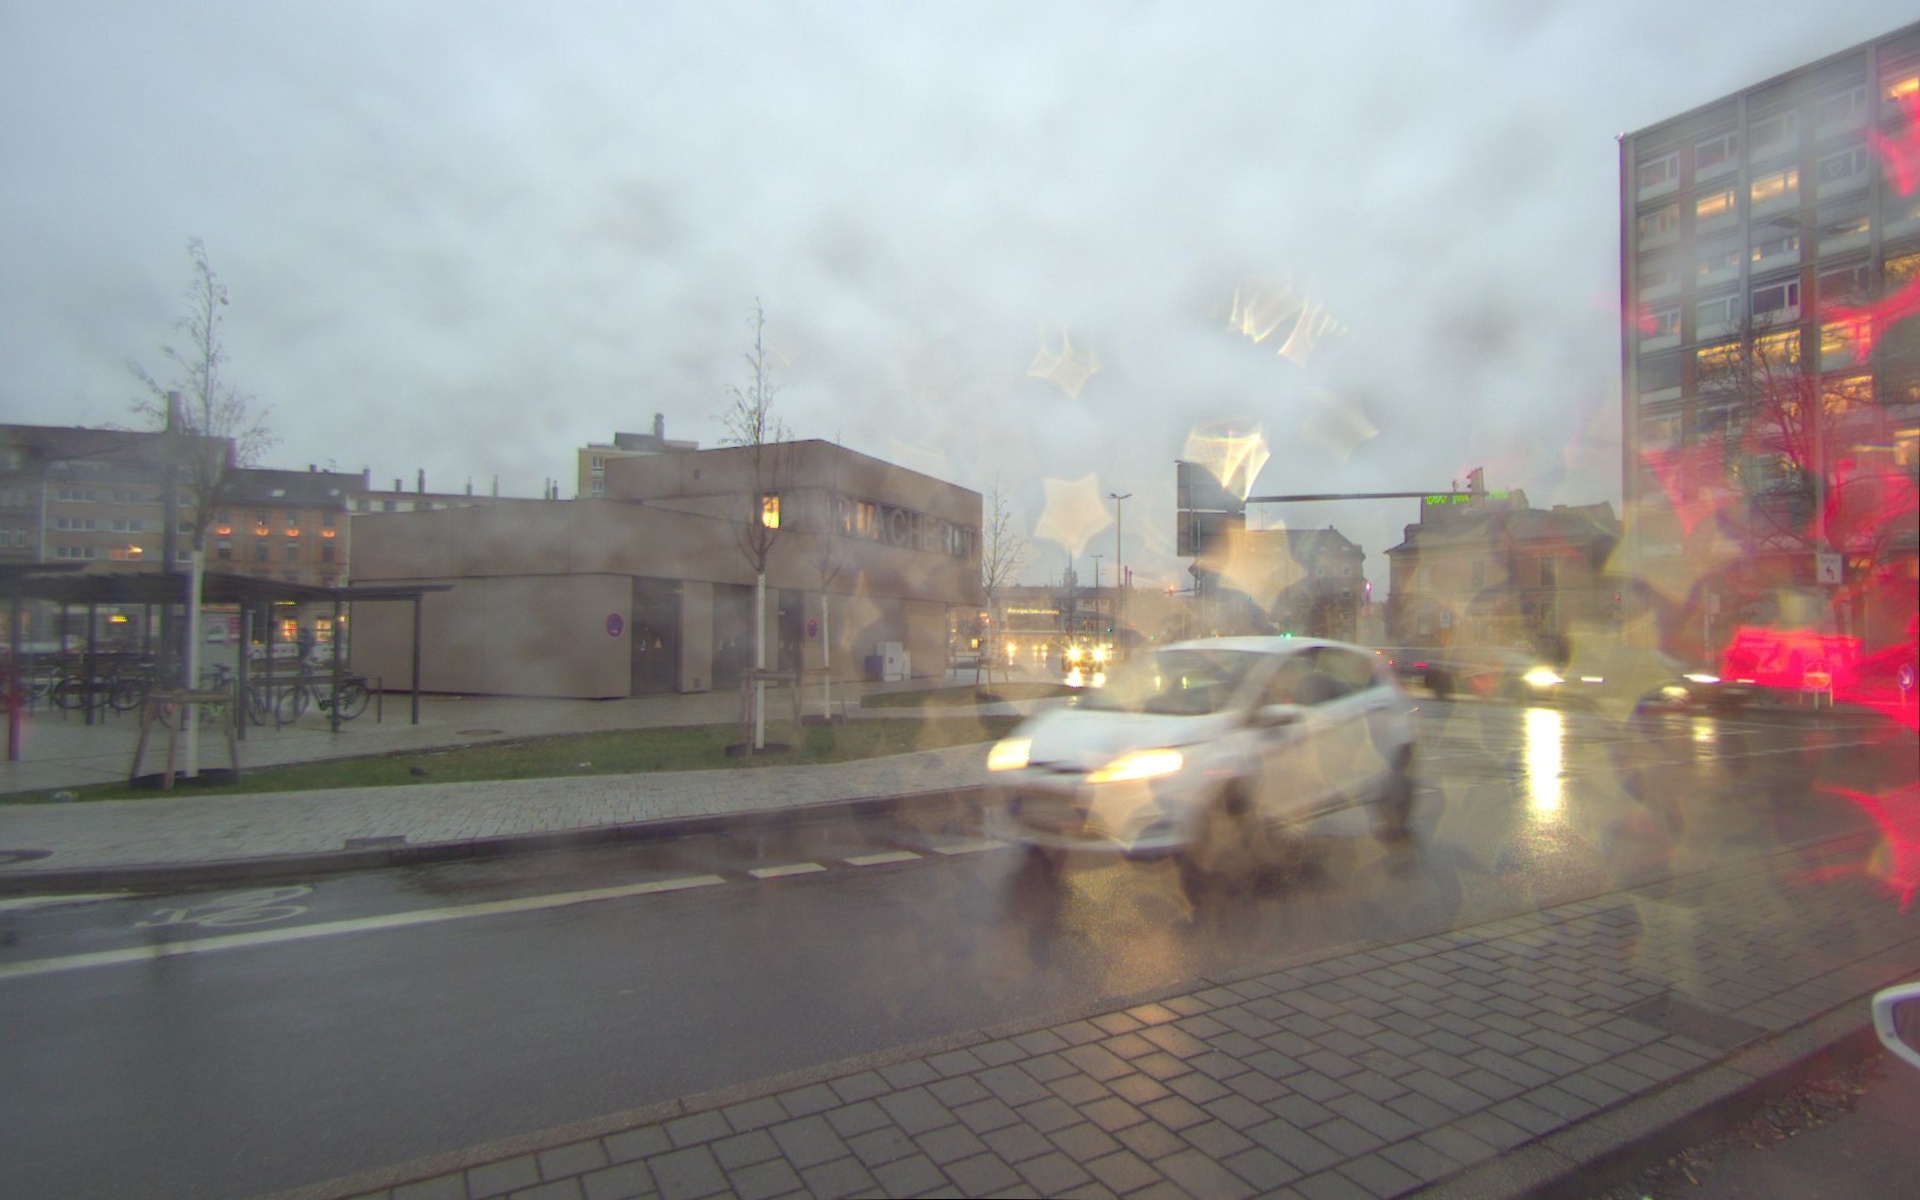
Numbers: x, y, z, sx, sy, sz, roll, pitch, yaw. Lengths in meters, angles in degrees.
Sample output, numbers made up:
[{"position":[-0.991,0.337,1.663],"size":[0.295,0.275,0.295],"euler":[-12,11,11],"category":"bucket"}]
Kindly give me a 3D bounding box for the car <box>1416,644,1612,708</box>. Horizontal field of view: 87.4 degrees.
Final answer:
[{"position":[14.204,1.907,26.104],"size":[1.781,1.496,4.579],"euler":[1,-3,-16],"category":"car"}]

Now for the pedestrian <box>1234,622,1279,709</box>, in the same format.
[{"position":[7.203,1.581,24.385],"size":[0.971,2.047,0.802],"euler":[-1,-2,19],"category":"pedestrian"}]

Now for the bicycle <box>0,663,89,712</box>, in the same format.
[{"position":[-18.505,1.735,19.992],"size":[0.466,0.903,1.693],"euler":[1,-2,24],"category":"bicycle"}]

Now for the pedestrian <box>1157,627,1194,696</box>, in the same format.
[{"position":[5.929,1.684,27.657],"size":[0.671,1.863,0.726],"euler":[1,-3,-42],"category":"pedestrian"}]

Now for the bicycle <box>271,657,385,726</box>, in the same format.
[{"position":[-11.747,1.678,18.722],"size":[0.605,1.172,1.755],"euler":[1,-2,20],"category":"bicycle"}]

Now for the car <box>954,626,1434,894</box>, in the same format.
[{"position":[1.877,1.010,7.447],"size":[3.689,1.467,1.723],"euler":[3,-6,-44],"category":"car"}]

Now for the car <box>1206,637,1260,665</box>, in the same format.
[{"position":[19.625,3.659,72.354],"size":[3.514,1.850,1.672],"euler":[2,0,8],"category":"car"}]

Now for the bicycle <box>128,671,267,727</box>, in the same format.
[{"position":[-13.583,1.740,17.954],"size":[0.466,0.903,1.923],"euler":[1,-2,29],"category":"bicycle"}]

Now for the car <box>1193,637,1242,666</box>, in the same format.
[{"position":[16.374,3.258,64.102],"size":[1.792,1.589,3.997],"euler":[2,0,-5],"category":"car"}]

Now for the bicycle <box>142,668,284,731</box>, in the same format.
[{"position":[-12.933,1.705,17.461],"size":[0.466,0.989,1.923],"euler":[1,-2,29],"category":"bicycle"}]

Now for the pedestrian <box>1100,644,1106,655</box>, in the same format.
[{"position":[26.087,8.982,182.986],"size":[0.960,2.040,0.920],"euler":[-1,-2,11],"category":"pedestrian"}]

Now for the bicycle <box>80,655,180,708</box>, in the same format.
[{"position":[-17.684,1.713,21.435],"size":[0.511,1.050,1.573],"euler":[1,-2,19],"category":"bicycle"}]

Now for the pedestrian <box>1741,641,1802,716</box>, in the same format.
[{"position":[22.097,2.113,27.359],"size":[0.946,2.004,0.925],"euler":[0,-2,-24],"category":"pedestrian"}]

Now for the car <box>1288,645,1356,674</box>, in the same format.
[{"position":[20.906,3.412,58.078],"size":[3.364,1.481,1.515],"euler":[2,0,-1],"category":"car"}]

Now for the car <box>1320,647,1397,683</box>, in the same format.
[{"position":[20.500,3.314,51.818],"size":[1.795,1.589,3.991],"euler":[2,0,-11],"category":"car"}]

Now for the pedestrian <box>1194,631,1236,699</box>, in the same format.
[{"position":[6.753,1.713,26.603],"size":[0.838,1.778,0.659],"euler":[0,-2,-14],"category":"pedestrian"}]

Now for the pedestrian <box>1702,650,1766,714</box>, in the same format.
[{"position":[23.991,2.529,31.147],"size":[1.118,1.867,1.003],"euler":[-2,-2,-9],"category":"pedestrian"}]

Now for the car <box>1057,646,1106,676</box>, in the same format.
[{"position":[6.772,3.404,56.333],"size":[1.742,1.598,3.995],"euler":[0,-2,-8],"category":"car"}]

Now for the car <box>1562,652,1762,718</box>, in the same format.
[{"position":[17.479,2.072,25.244],"size":[1.780,1.497,3.959],"euler":[1,-3,-13],"category":"car"}]

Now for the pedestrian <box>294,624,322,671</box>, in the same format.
[{"position":[-23.813,1.725,36.689],"size":[0.518,1.688,0.701],"euler":[-1,-2,5],"category":"pedestrian"}]

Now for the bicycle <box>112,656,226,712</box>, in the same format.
[{"position":[-16.527,1.739,21.041],"size":[0.466,1.087,1.830],"euler":[1,-2,26],"category":"bicycle"}]

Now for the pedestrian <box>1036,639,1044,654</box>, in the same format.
[{"position":[11.287,6.510,141.246],"size":[0.960,2.040,0.920],"euler":[-1,-2,11],"category":"pedestrian"}]

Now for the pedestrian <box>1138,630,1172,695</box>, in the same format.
[{"position":[5.468,1.743,28.176],"size":[0.544,1.793,0.734],"euler":[1,-3,-43],"category":"pedestrian"}]

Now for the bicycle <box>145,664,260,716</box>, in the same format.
[{"position":[-15.177,1.781,20.176],"size":[0.466,0.968,1.767],"euler":[1,-2,29],"category":"bicycle"}]

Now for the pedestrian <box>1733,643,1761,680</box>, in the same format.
[{"position":[34.878,2.715,44.525],"size":[0.548,1.649,0.760],"euler":[0,-2,-15],"category":"pedestrian"}]

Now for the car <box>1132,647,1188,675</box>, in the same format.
[{"position":[11.330,3.419,57.141],"size":[1.777,1.496,4.668],"euler":[1,-3,-6],"category":"car"}]

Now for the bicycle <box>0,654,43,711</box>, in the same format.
[{"position":[-19.391,1.635,19.841],"size":[0.466,1.122,1.797],"euler":[1,-2,29],"category":"bicycle"}]

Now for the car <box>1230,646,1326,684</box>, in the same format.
[{"position":[13.539,2.743,43.090],"size":[1.780,1.496,4.660],"euler":[1,-3,-14],"category":"car"}]

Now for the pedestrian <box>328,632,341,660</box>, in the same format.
[{"position":[-46.194,3.404,74.210],"size":[0.695,2.040,0.586],"euler":[0,-2,-21],"category":"pedestrian"}]

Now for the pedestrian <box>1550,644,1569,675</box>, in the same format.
[{"position":[33.006,3.262,55.303],"size":[0.626,1.710,0.640],"euler":[0,-2,-13],"category":"pedestrian"}]
